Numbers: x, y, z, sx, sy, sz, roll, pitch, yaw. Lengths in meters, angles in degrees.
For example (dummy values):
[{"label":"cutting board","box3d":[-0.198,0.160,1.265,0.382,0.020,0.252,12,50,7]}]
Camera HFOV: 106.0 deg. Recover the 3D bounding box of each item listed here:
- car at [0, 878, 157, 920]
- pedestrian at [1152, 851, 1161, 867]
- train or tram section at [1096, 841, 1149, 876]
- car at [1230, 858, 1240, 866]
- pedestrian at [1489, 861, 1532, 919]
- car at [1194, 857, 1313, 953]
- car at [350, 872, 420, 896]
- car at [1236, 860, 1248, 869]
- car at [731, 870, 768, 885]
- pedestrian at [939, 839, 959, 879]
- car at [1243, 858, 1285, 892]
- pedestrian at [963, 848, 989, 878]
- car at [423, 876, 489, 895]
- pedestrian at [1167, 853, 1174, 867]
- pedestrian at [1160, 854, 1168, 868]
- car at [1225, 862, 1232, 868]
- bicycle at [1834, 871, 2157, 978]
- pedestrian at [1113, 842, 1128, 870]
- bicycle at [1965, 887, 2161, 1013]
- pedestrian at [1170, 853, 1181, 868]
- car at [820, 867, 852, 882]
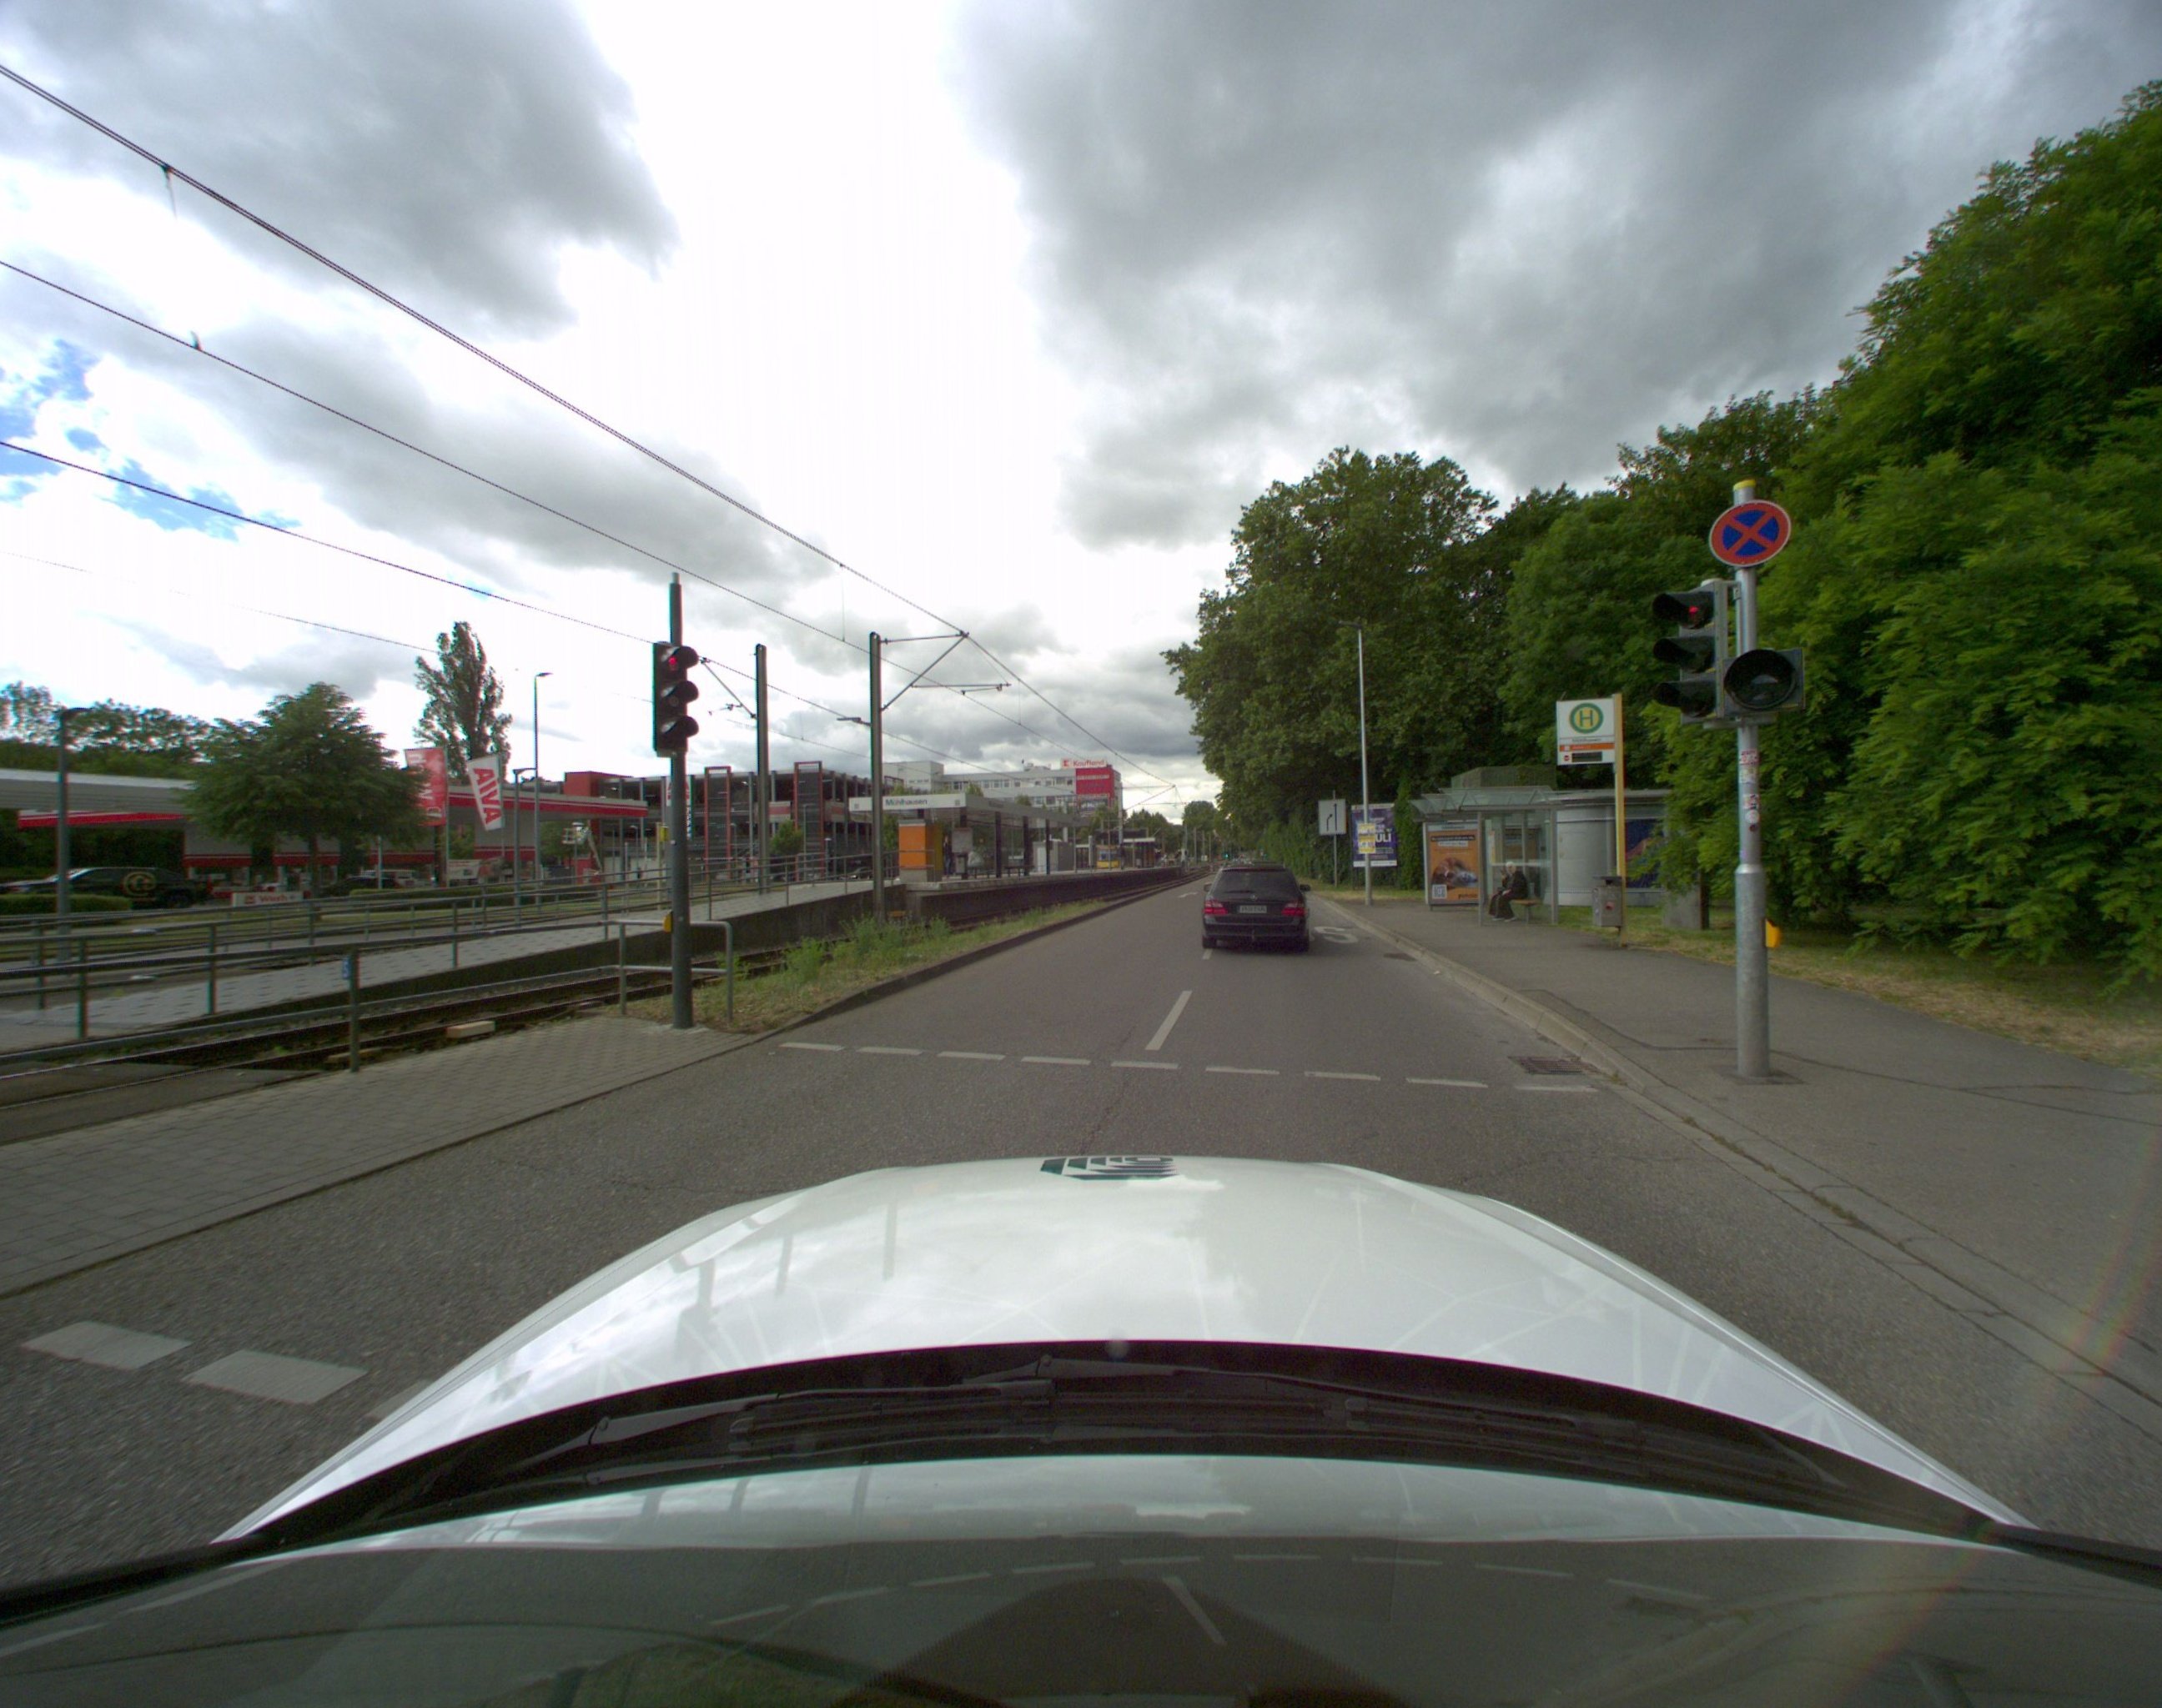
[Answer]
[{"label":"car","box3d":[-36.221,1.576,29.274,1.601,1.350,3.649,-1,-1,14]},{"label":"pedestrian","box3d":[7.850,0.509,84.232,0.766,1.678,0.793,-3,-2,11]},{"label":"train or tram section","box3d":[5.368,0.569,99.866,2.736,3.883,18.702,-2,-1,14]},{"label":"car","box3d":[31.021,1.686,164.217,1.812,1.530,3.941,-2,-1,13]},{"label":"pedestrian","box3d":[8.806,0.731,16.720,0.597,1.158,0.548,-3,-1,12]},{"label":"car","box3d":[3.248,0.816,14.965,1.820,1.478,4.433,-1,0,14]},{"label":"car","box3d":[-57.314,2.453,67.129,1.897,1.752,4.070,-3,-1,10]},{"label":"car","box3d":[27.803,1.735,140.647,1.812,1.530,4.431,0,0,13]},{"label":"car","box3d":[-34.087,2.398,83.822,1.704,1.415,3.572,-3,-1,13]},{"label":"pedestrian","box3d":[-5.369,0.206,33.065,0.566,1.620,0.588,-3,-2,12]},{"label":"car","box3d":[8.559,0.944,38.384,1.813,1.530,4.429,0,0,11]},{"label":"pedestrian","box3d":[-4.231,0.371,32.801,0.763,1.189,0.731,-2,-1,15]},{"label":"car","box3d":[-51.915,2.599,67.693,1.897,1.365,4.071,-3,-1,11]},{"label":"pedestrian","box3d":[9.614,0.668,87.439,0.585,1.482,0.515,-1,-2,-40]},{"label":"pedestrian","box3d":[9.044,0.796,88.760,0.478,1.483,0.537,-2,-2,-30]},{"label":"car","box3d":[39.532,2.875,218.173,1.812,1.530,3.941,0,0,13]},{"label":"bicycle","box3d":[8.802,0.643,7.964,2.019,0.939,0.595,-1,-1,26]},{"label":"pedestrian","box3d":[2.564,0.141,52.481,0.744,1.744,0.940,-3,-2,12]},{"label":"bicycle","box3d":[8.421,0.752,6.506,1.854,0.924,0.547,-2,1,13]},{"label":"pedestrian","box3d":[10.867,0.734,93.527,0.880,1.678,0.737,-1,-2,-35]},{"label":"car","box3d":[-27.948,2.349,93.051,1.765,1.539,4.013,-3,-1,12]}]
